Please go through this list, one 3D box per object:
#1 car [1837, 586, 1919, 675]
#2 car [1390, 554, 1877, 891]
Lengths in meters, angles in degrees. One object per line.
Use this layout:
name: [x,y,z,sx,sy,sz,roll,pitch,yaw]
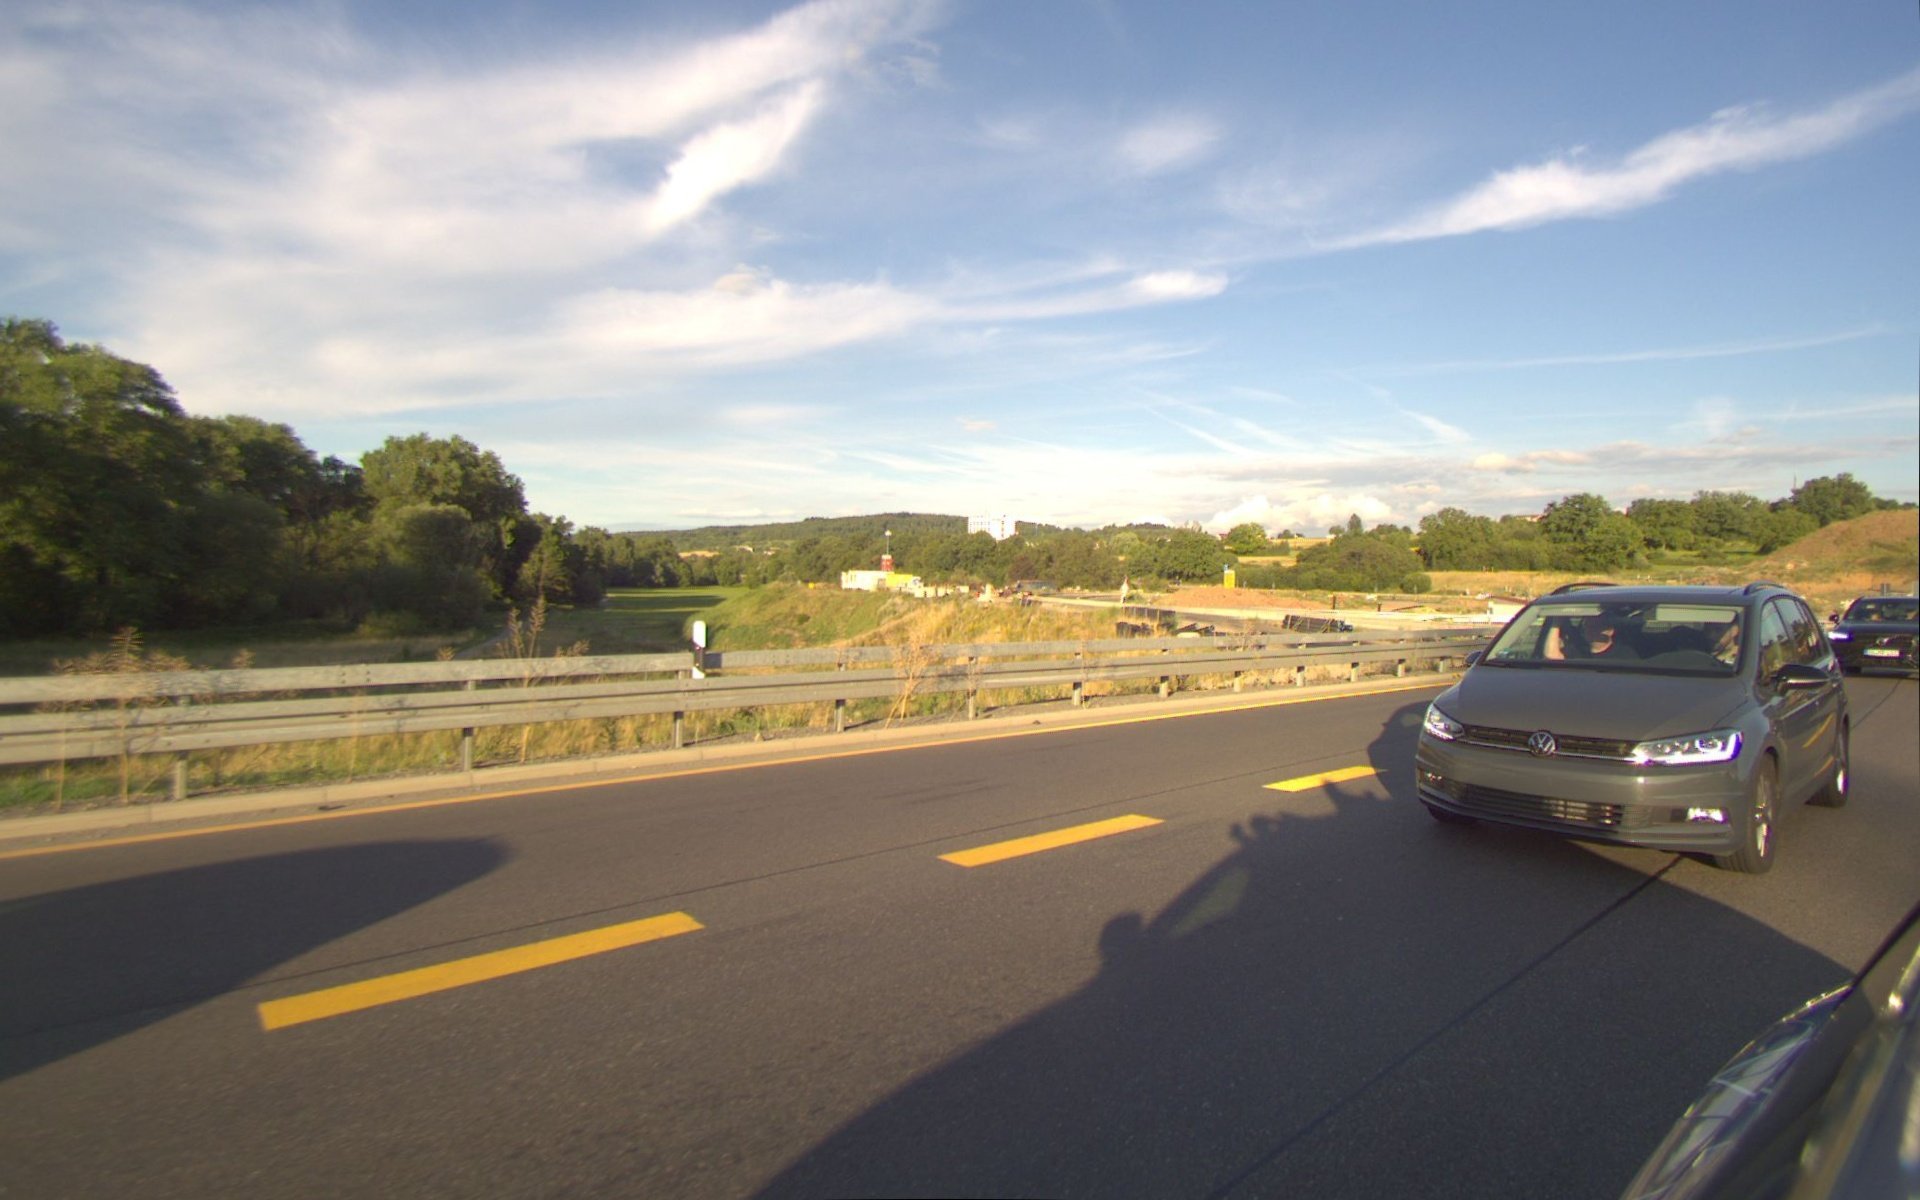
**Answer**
car: [20.291,0.590,21.592,4.805,1.735,1.900,0,0,-43]
car: [4.927,0.588,7.104,4.449,1.636,1.814,-1,-1,-43]
